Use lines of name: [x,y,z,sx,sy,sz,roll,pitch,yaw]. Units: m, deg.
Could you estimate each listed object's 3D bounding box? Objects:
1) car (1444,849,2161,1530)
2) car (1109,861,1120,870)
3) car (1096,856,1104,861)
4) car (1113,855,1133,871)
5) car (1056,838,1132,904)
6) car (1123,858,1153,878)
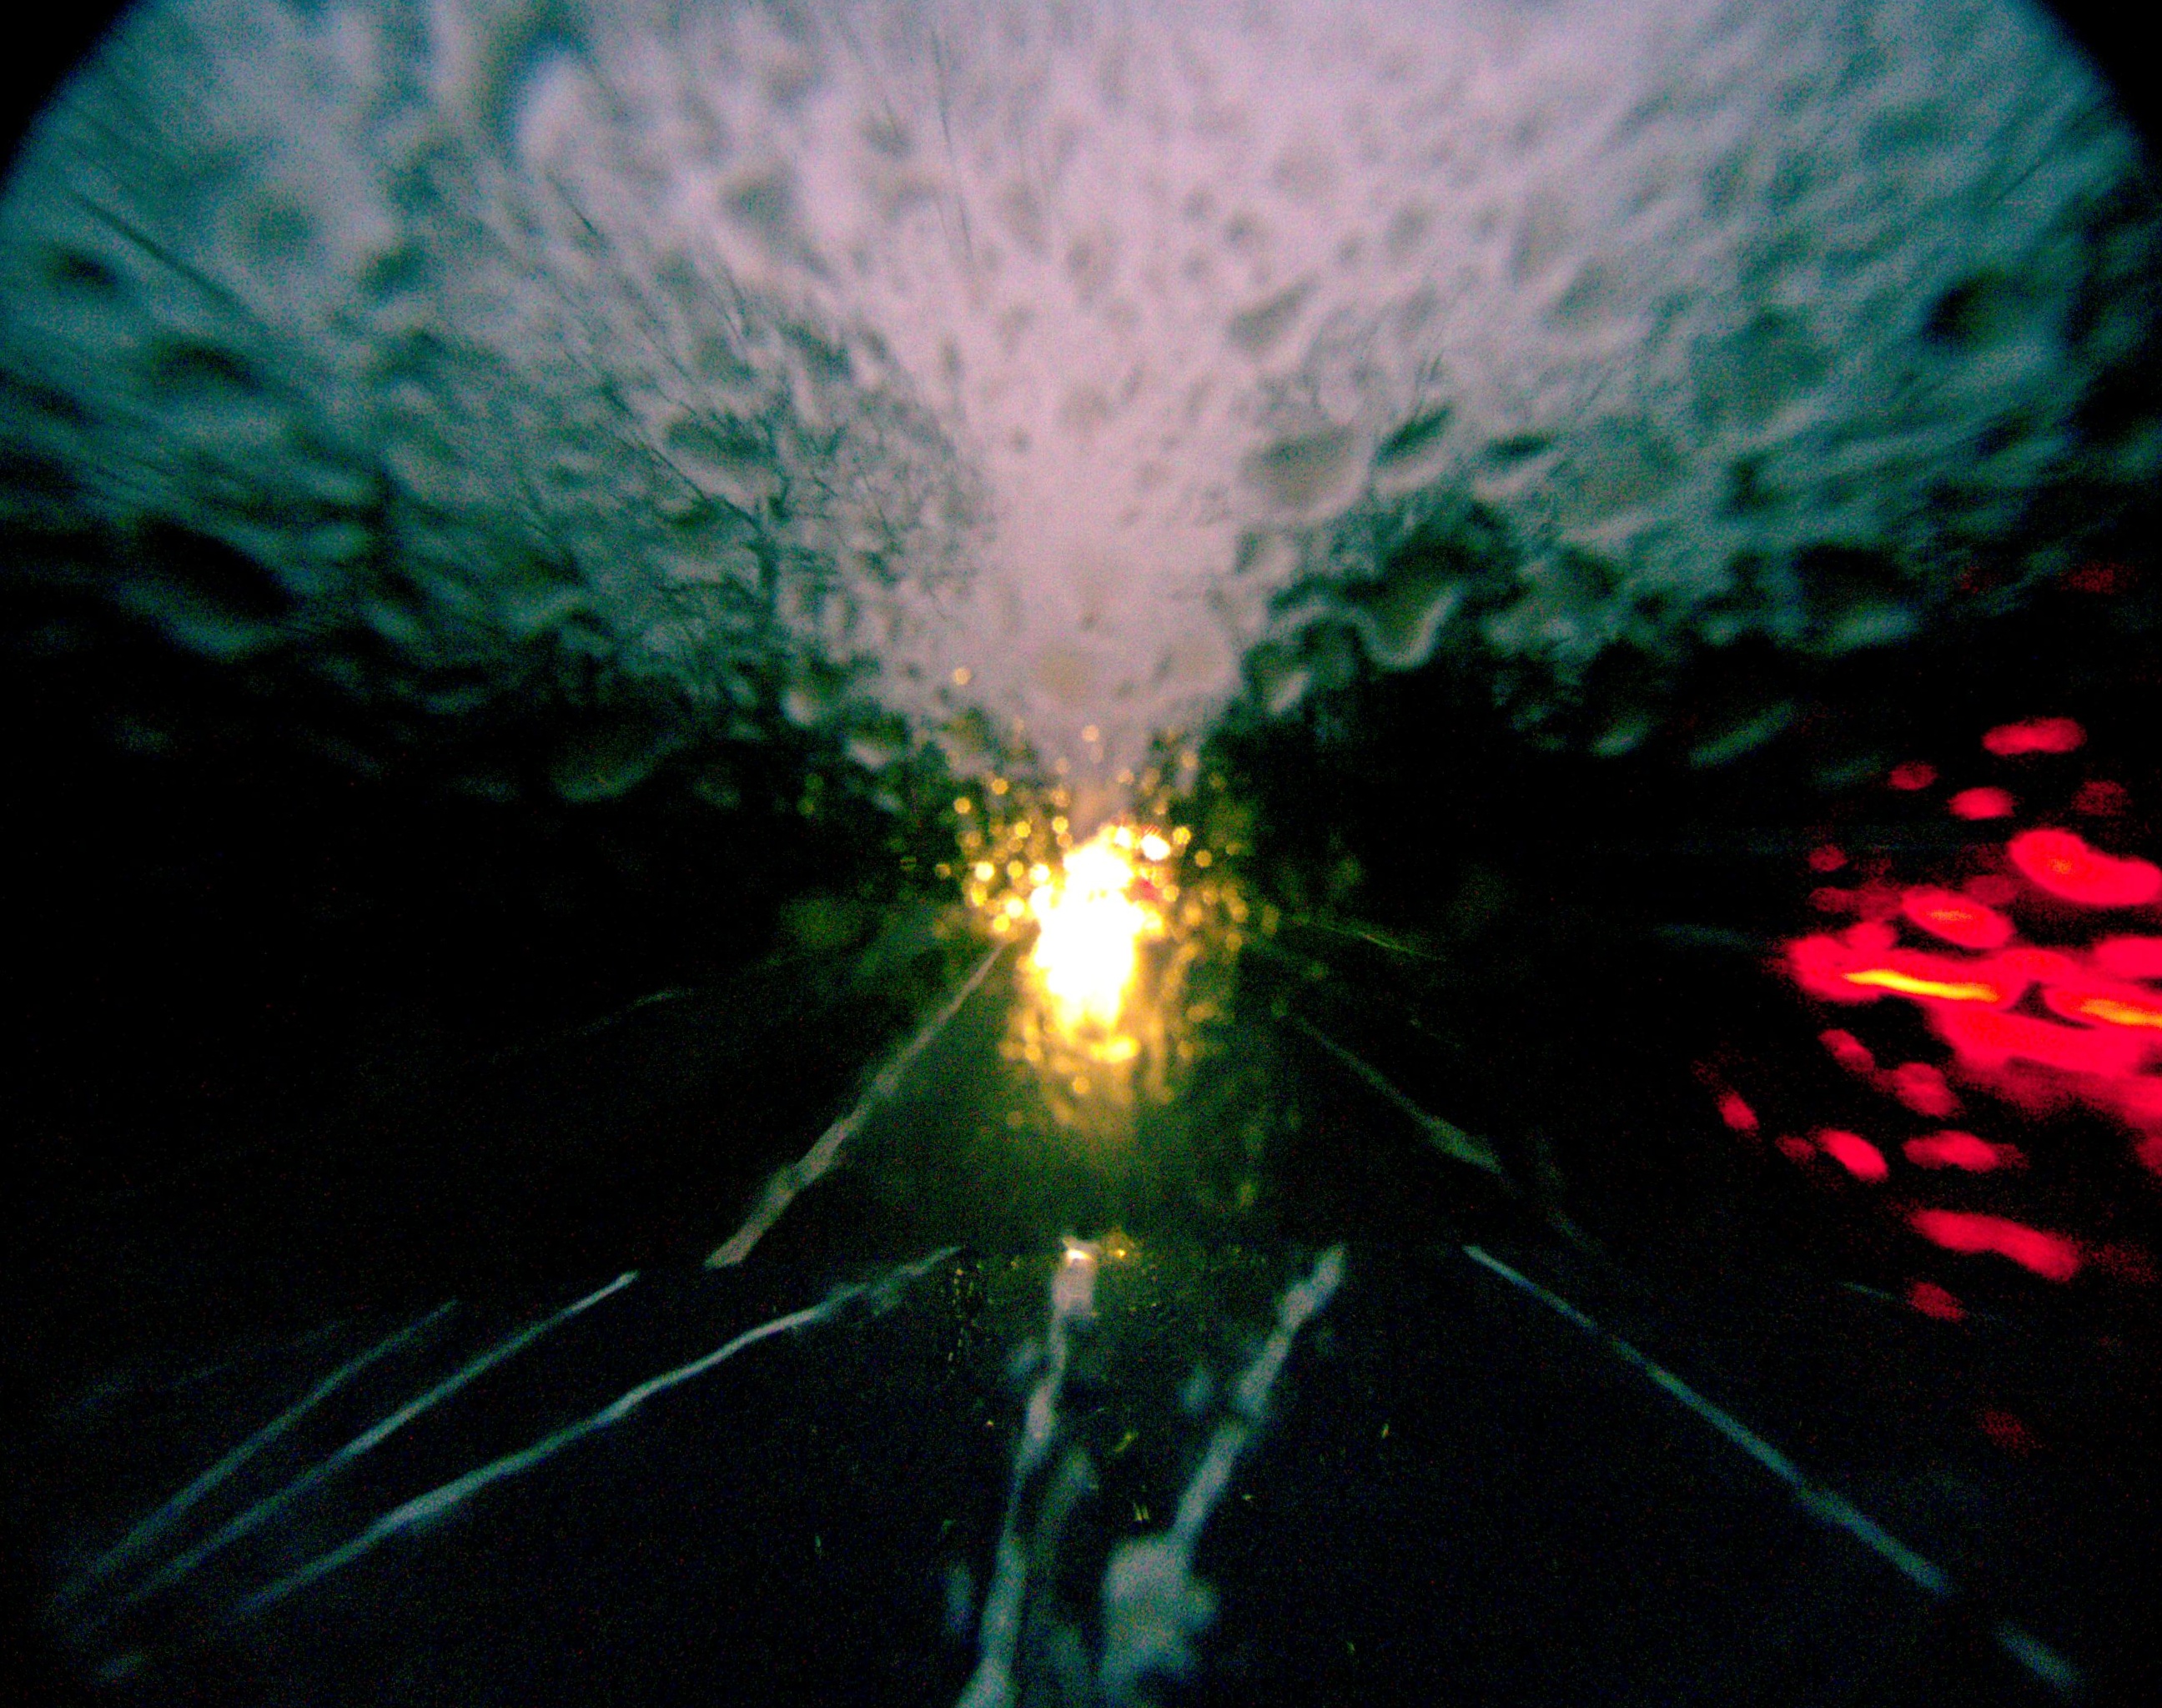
car: [3.611,0.793,3.291,2.081,1.607,4.151,0,1,0]
car: [5.293,1.867,120.573,1.695,1.411,4.000,0,-1,0]
car: [5.357,1.300,215.311,1.979,1.559,4.928,0,0,3]
car: [4.538,0.951,82.538,1.922,1.599,5.016,-1,1,2]
car: [0.526,0.568,29.354,2.542,2.213,6.169,-2,0,1]
car: [4.133,1.001,55.622,1.873,1.414,4.387,-1,0,1]
